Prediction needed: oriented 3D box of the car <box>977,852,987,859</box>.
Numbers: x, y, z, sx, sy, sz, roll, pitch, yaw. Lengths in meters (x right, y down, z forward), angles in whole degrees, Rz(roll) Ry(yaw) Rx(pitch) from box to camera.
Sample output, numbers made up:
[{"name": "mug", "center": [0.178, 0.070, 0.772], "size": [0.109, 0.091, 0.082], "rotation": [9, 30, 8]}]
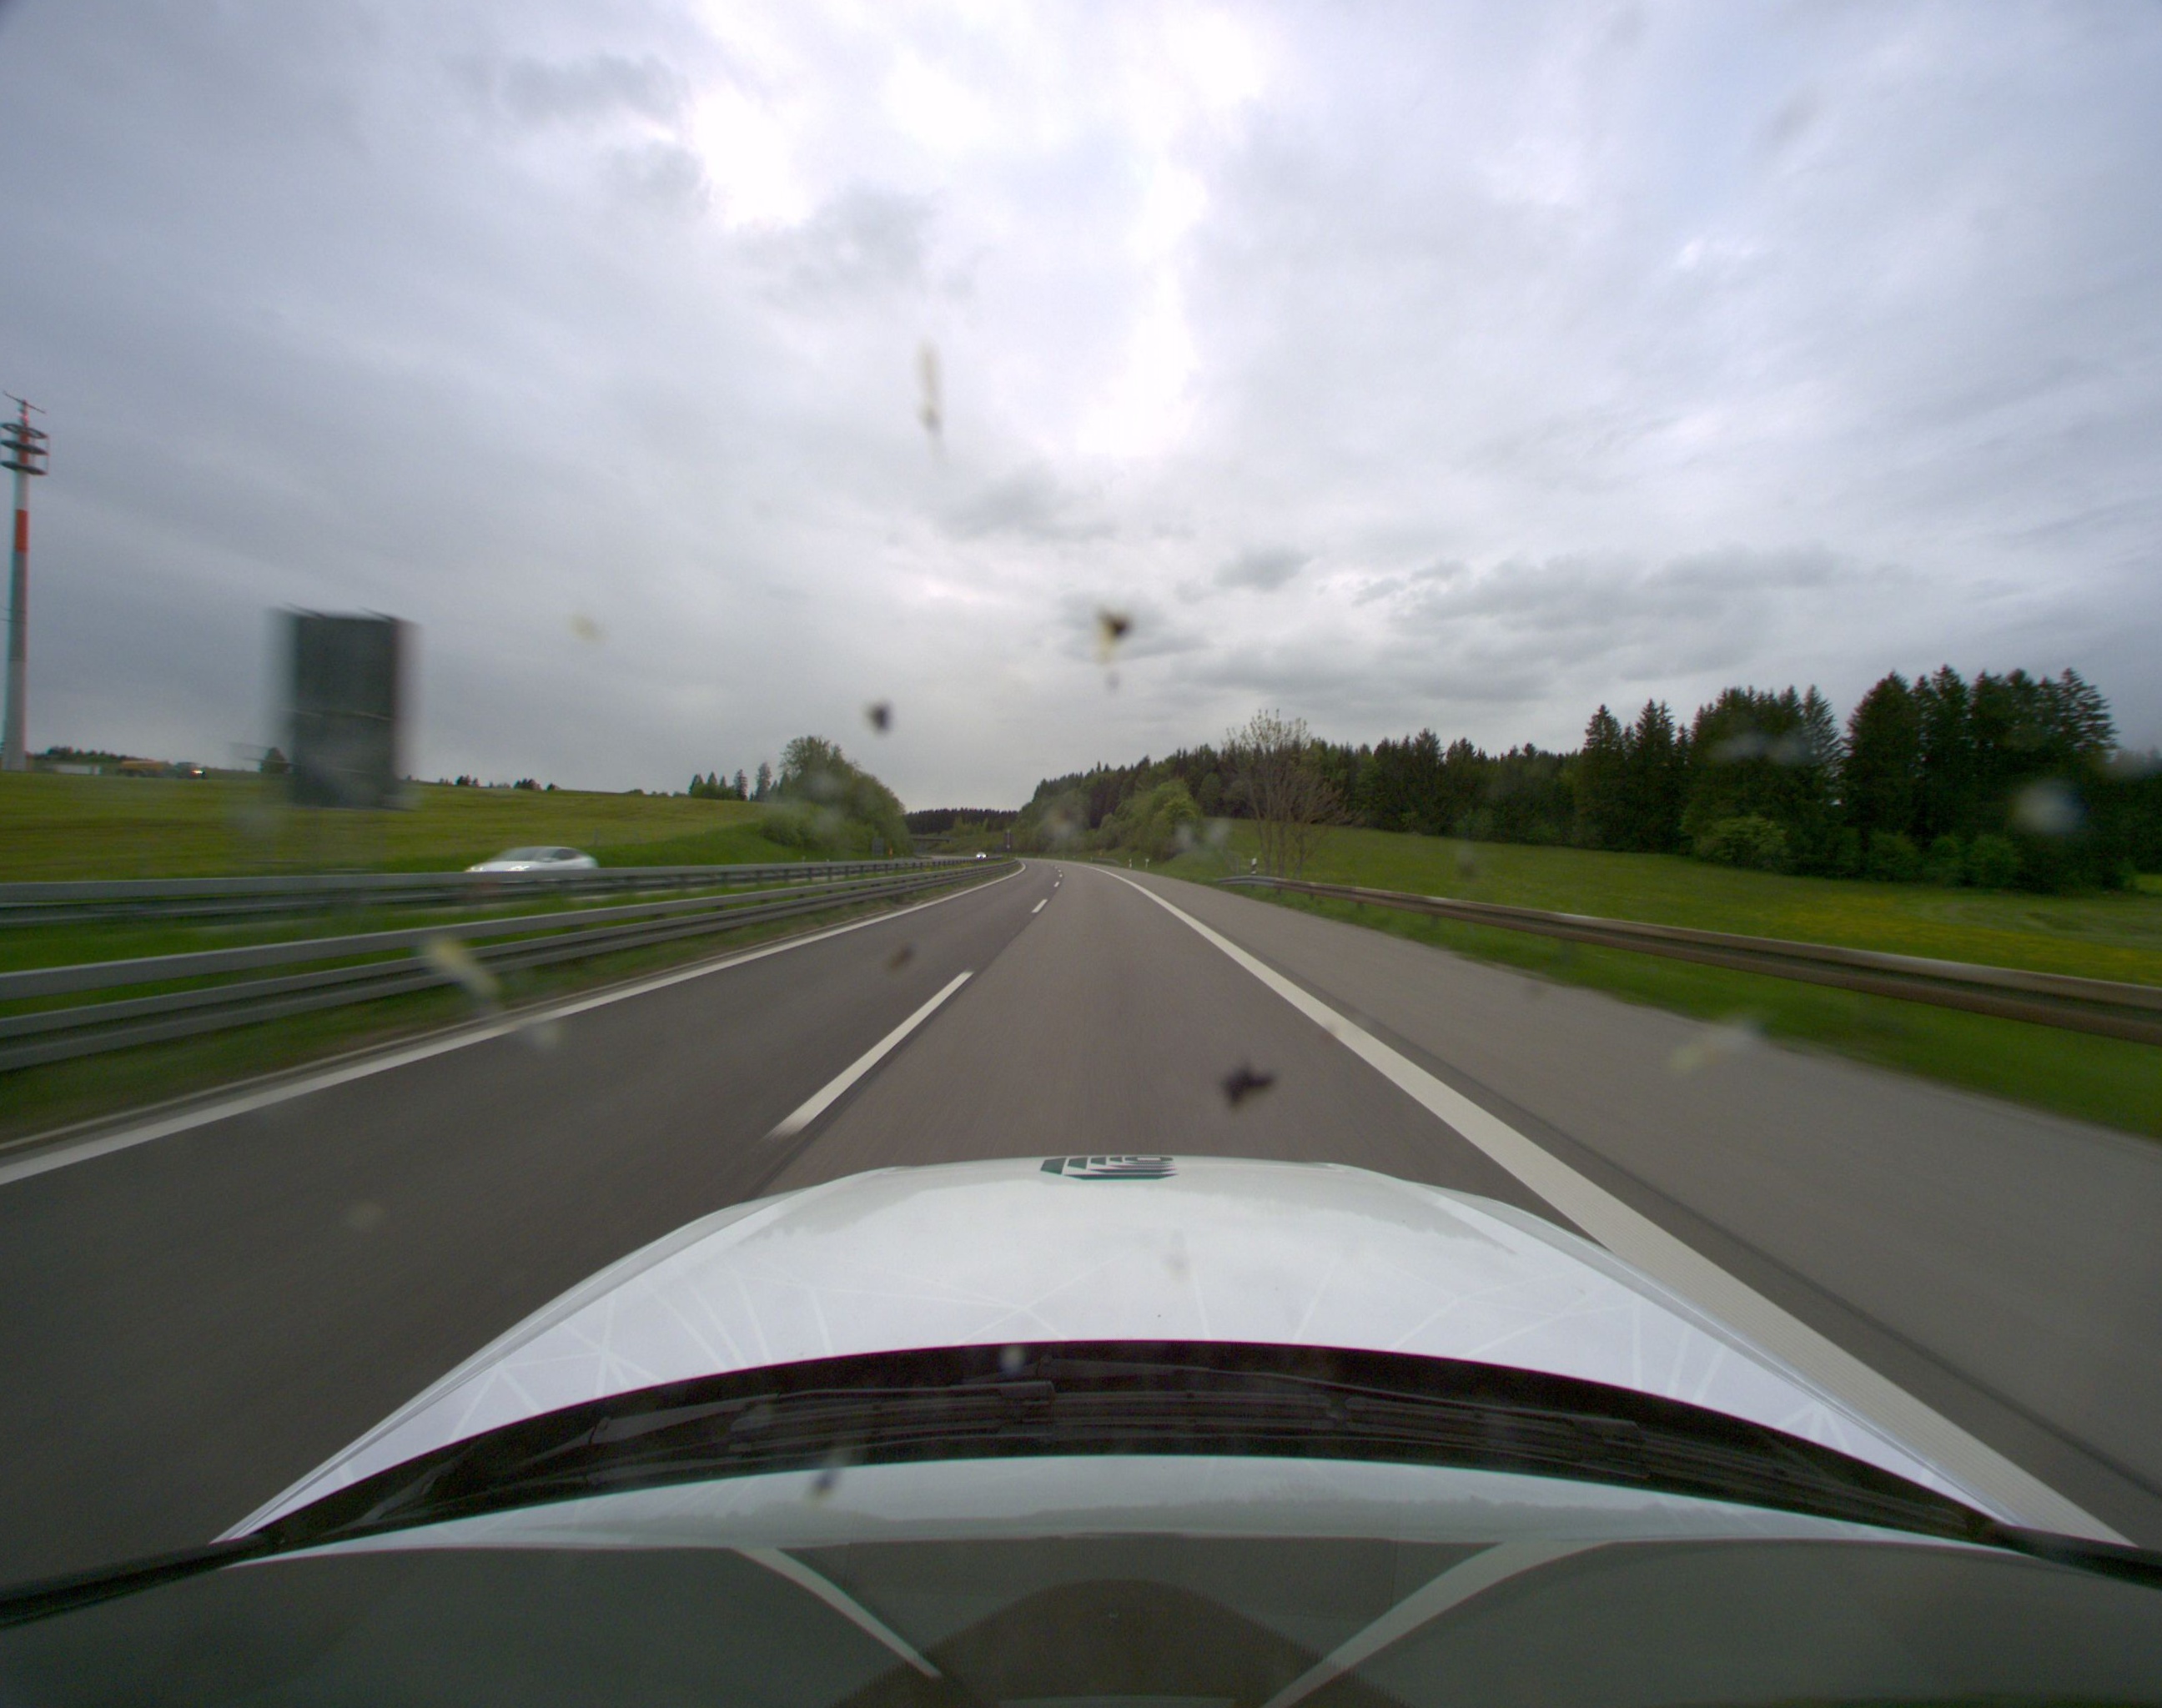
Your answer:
[{"name": "car", "center": [-21.540, 0.381, 177.637], "size": [1.991, 1.429, 4.454], "rotation": [2, 0, -6]}]

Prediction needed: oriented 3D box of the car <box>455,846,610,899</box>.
[{"name": "car", "center": [-19.645, 0.587, 29.514], "size": [2.028, 1.690, 5.056], "rotation": [2, 0, 1]}]
